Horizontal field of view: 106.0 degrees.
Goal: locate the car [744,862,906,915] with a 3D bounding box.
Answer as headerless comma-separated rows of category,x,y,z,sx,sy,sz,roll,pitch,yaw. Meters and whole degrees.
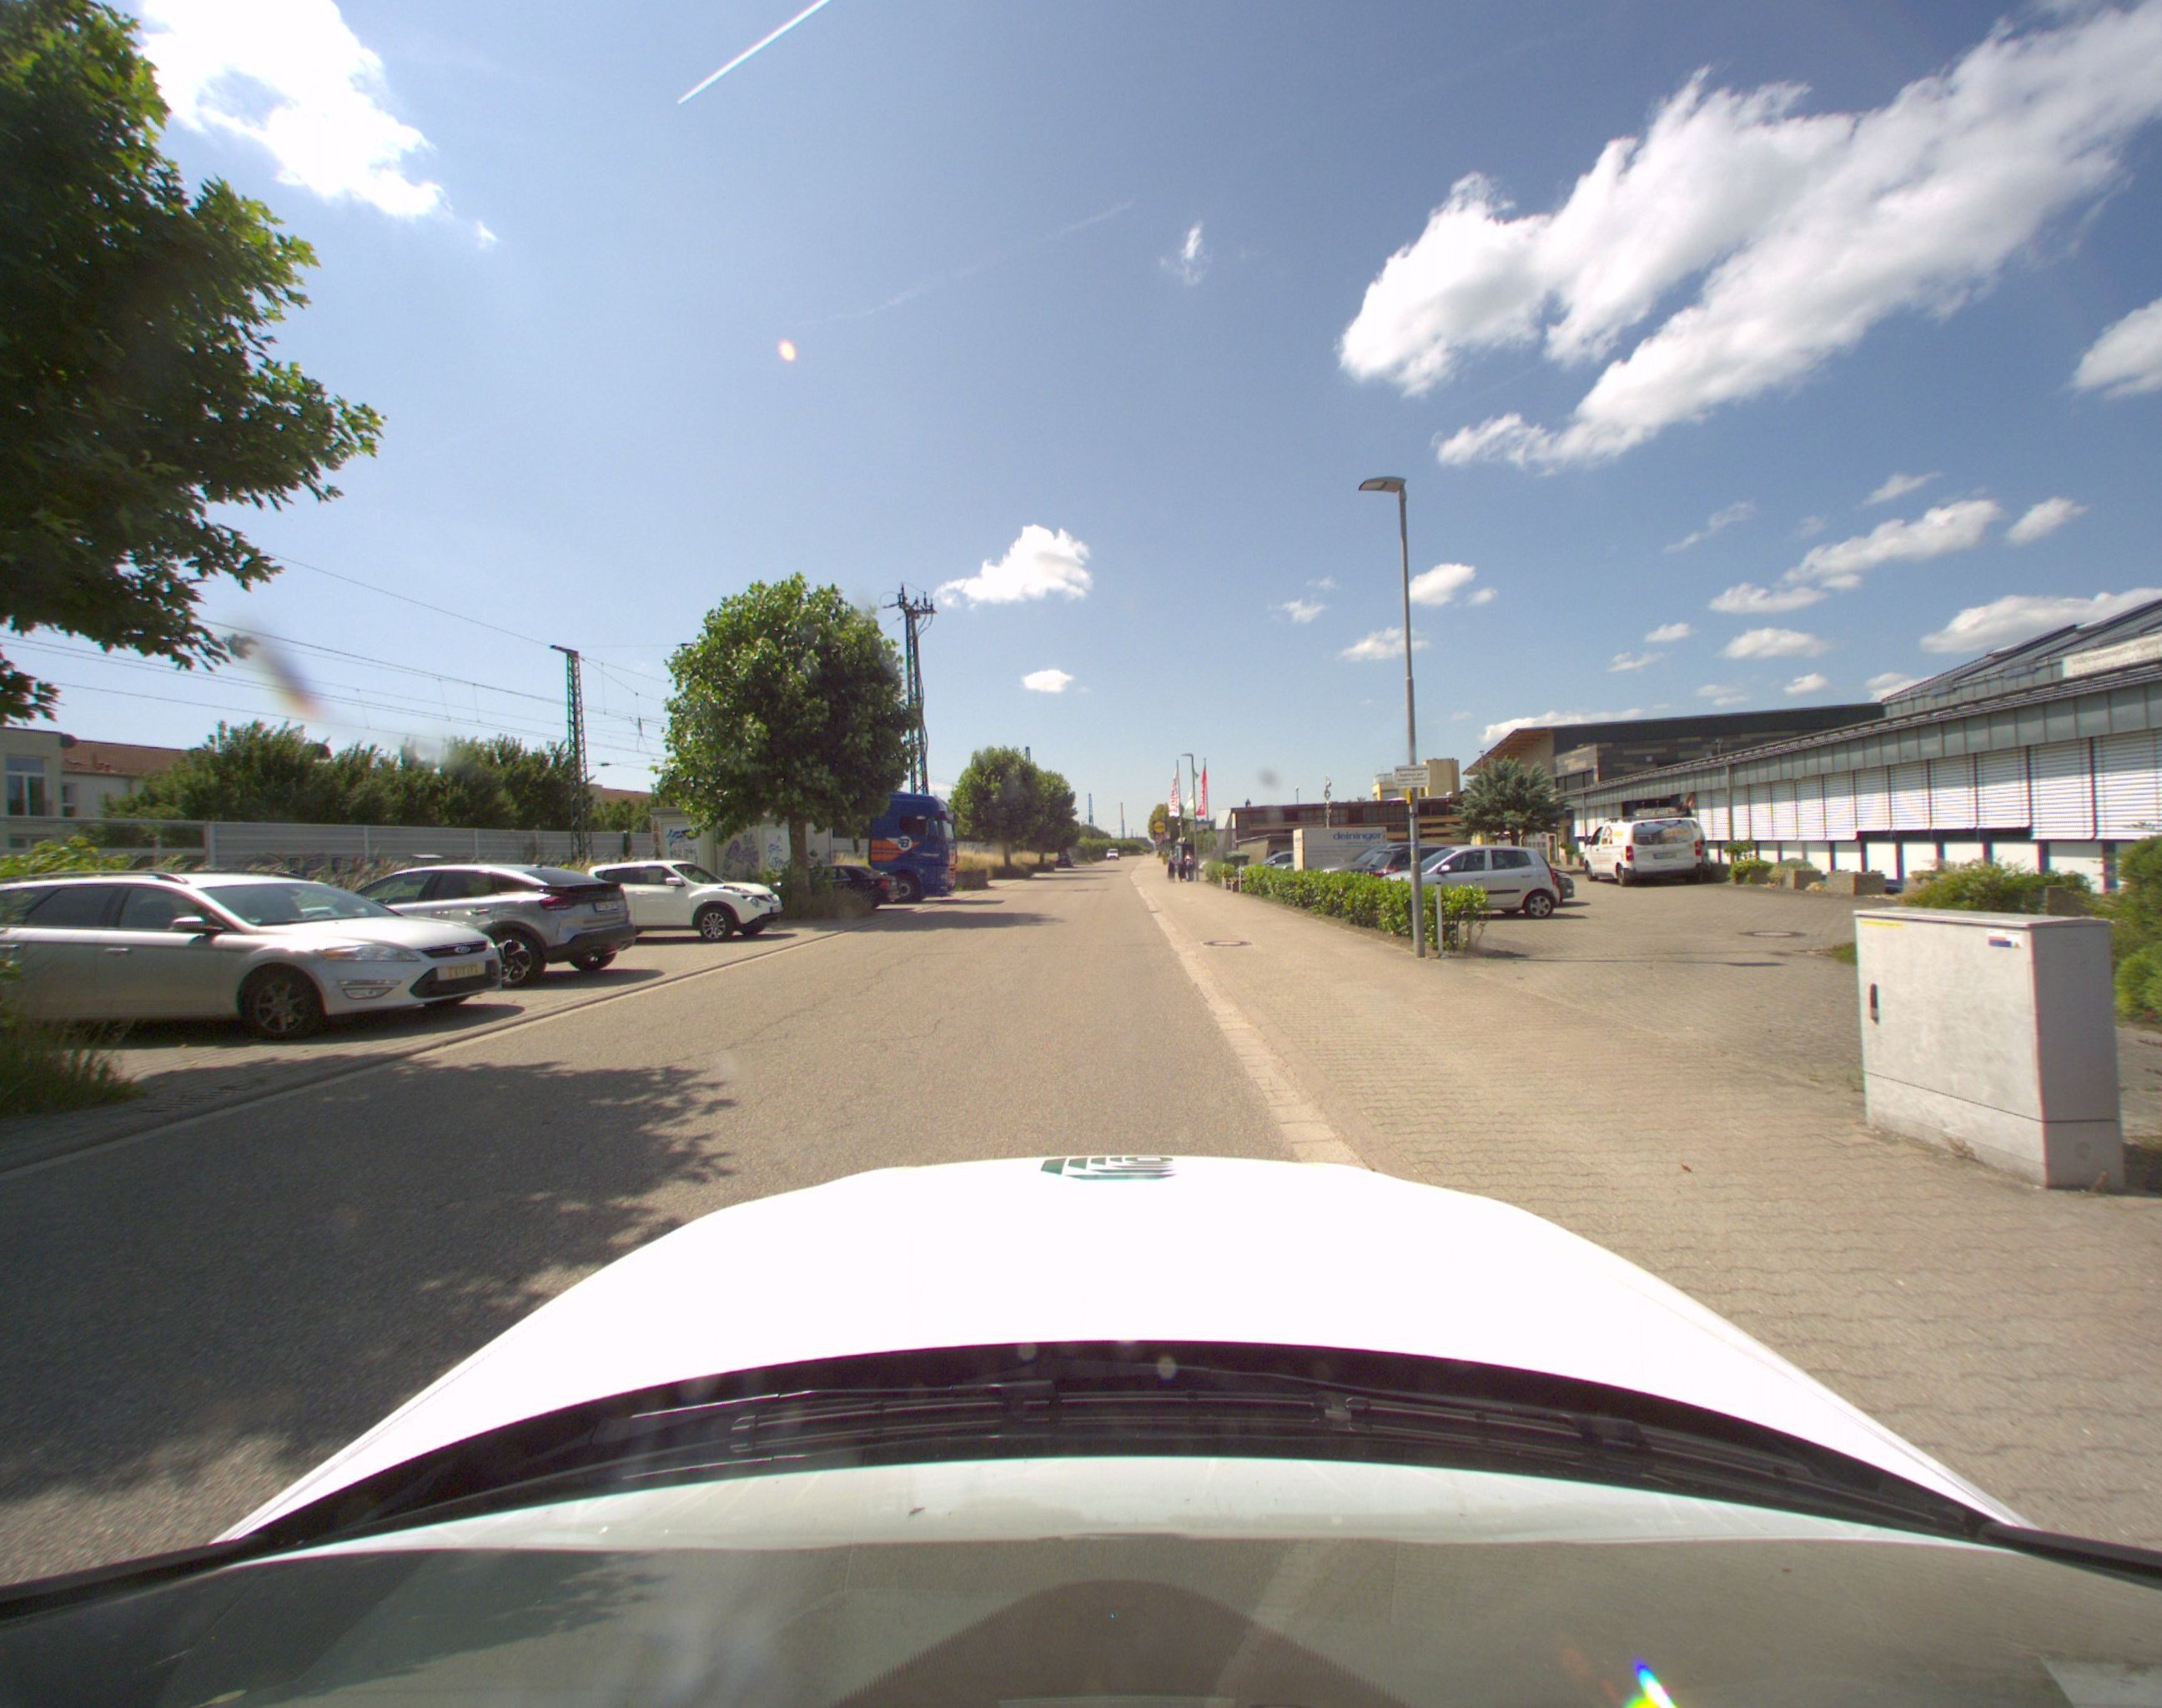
car,-7.575,1.010,24.419,4.194,1.395,1.872,-2,0,0

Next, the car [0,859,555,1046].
car,-8.076,0.893,8.151,4.321,1.533,1.927,-2,0,2

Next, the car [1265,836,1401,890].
car,8.845,0.332,28.795,4.197,1.634,1.801,-3,-2,1

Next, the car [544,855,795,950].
car,-8.000,0.904,16.130,3.958,1.618,1.850,-2,0,-1

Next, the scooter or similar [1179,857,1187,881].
scooter or similar,5.186,0.762,41.336,0.332,1.198,0.398,-3,-2,3

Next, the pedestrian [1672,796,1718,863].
pedestrian,18.451,-0.720,24.479,0.713,1.943,0.690,-3,-2,1

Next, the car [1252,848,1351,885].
car,9.531,0.519,35.452,3.829,1.455,1.819,-2,0,3

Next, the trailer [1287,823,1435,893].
trailer,8.710,0.128,25.651,3.971,2.013,2.001,-2,0,2

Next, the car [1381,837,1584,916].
car,8.224,0.443,16.935,3.336,1.401,1.772,-3,0,5

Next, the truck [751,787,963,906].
truck,-7.745,-0.253,28.754,6.591,3.823,2.664,-2,0,1

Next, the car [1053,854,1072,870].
car,-1.927,0.843,87.436,1.734,1.596,3.582,-2,0,3

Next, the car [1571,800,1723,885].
car,16.552,-0.316,24.169,2.085,2.125,4.735,-5,-1,15

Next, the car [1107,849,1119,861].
car,5.412,0.151,137.825,1.830,1.858,4.488,-2,0,4

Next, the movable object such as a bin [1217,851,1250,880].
movable object such as a bin,7.684,0.567,41.006,1.273,1.458,1.038,-1,0,-35

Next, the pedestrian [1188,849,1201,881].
pedestrian,5.750,0.562,41.196,0.533,1.540,0.511,-3,-2,2

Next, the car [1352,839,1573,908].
car,9.035,0.445,19.552,4.461,1.440,1.814,-2,0,-1

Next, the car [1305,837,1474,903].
car,8.555,0.458,22.787,4.024,1.574,1.712,-3,-2,-3

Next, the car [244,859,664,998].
car,-8.087,0.908,10.827,3.973,1.548,2.000,-2,0,1

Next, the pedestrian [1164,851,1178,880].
pedestrian,4.583,0.595,41.356,0.592,1.405,0.584,-3,-2,2
